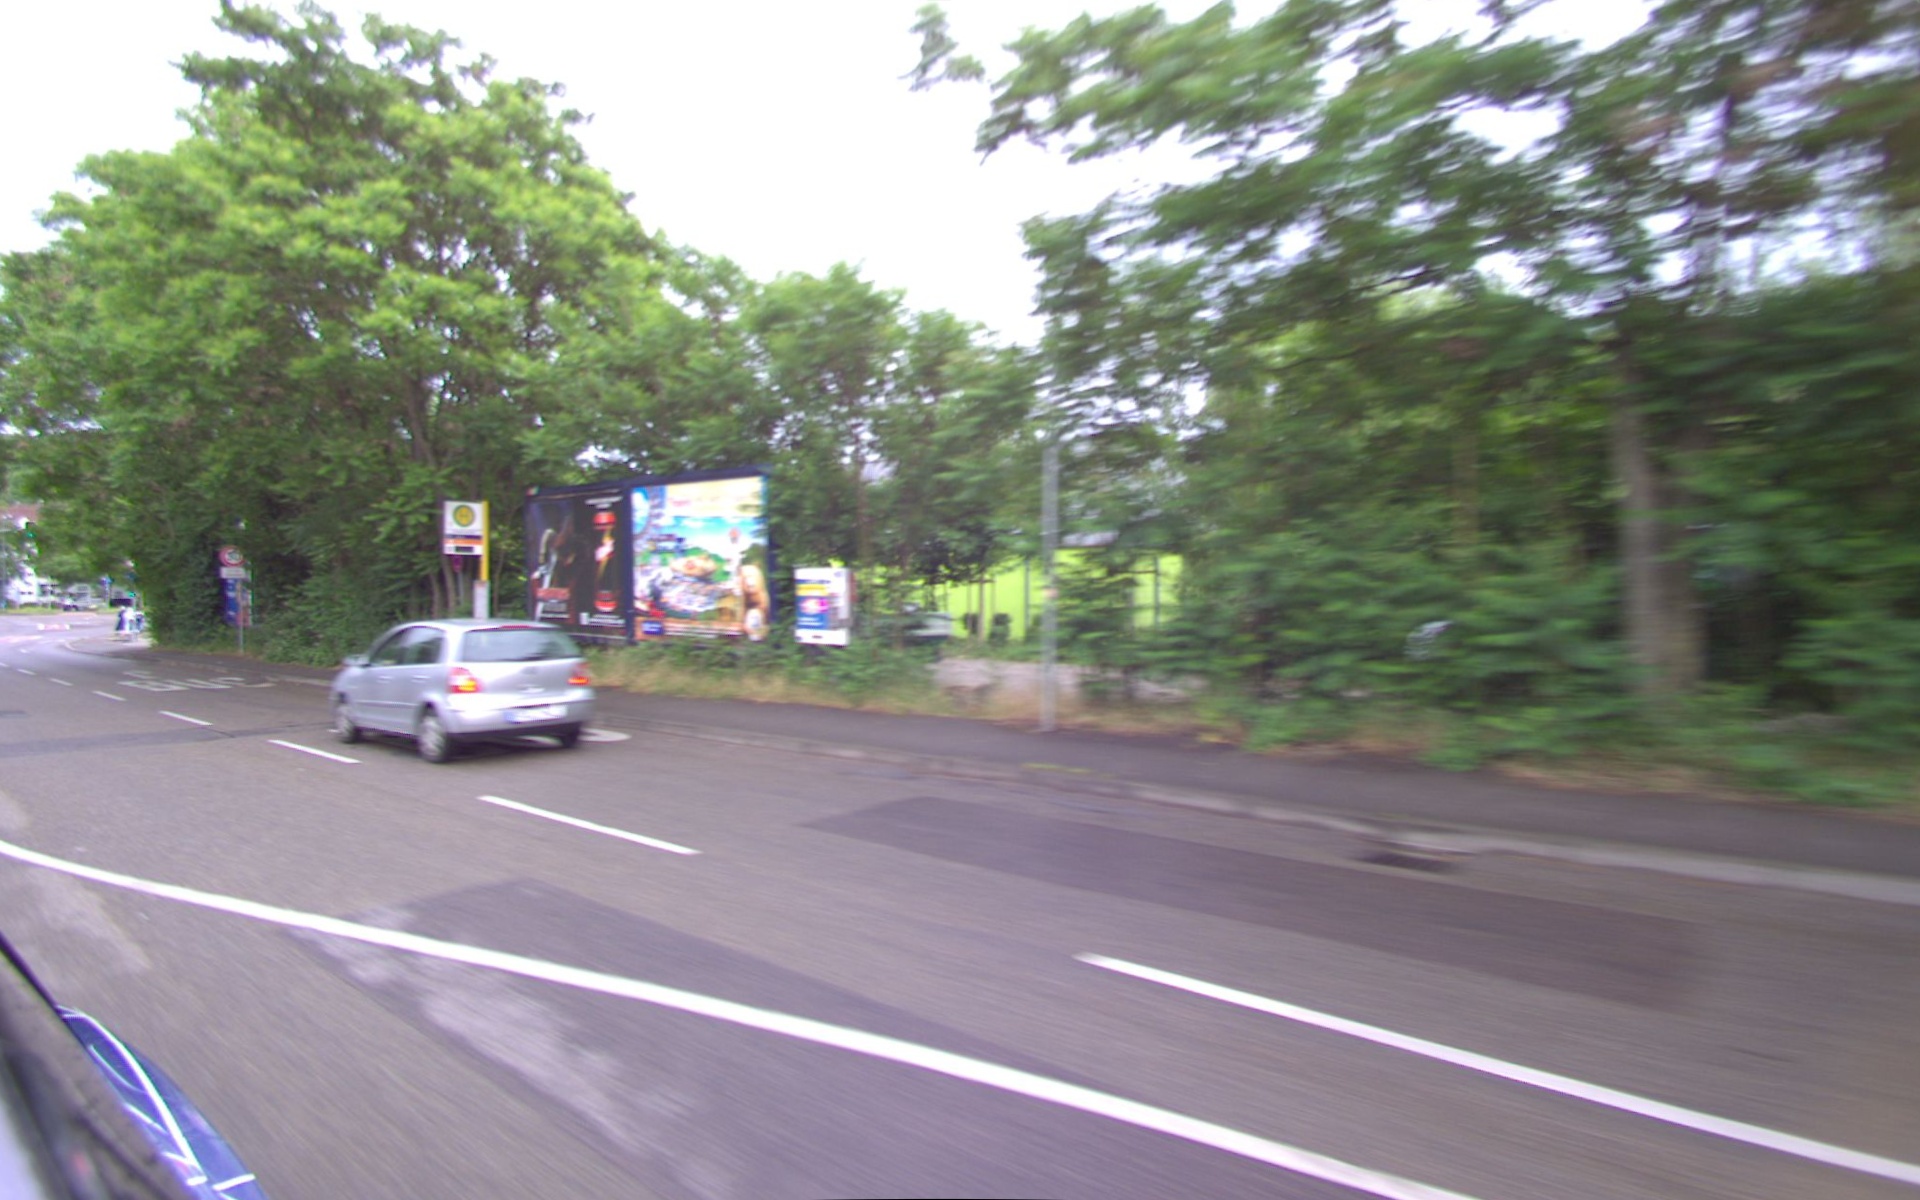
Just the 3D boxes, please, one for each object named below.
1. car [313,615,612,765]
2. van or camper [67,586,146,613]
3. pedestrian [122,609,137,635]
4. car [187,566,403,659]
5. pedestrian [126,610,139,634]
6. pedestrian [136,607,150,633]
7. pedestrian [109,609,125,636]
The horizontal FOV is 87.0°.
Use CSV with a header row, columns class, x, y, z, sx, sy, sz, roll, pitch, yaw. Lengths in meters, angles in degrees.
class,x,y,z,sx,sy,sz,roll,pitch,yaw
car,-5.779,0.945,11.572,3.933,1.428,1.637,-2,-4,41
van or camper,-92.387,-0.066,109.599,6.335,2.775,2.433,2,-1,-44
pedestrian,-51.029,1.351,62.178,0.597,1.614,0.679,-1,-1,-34
car,-19.763,0.388,30.155,5.548,2.552,2.105,-2,0,13
pedestrian,-53.599,1.420,65.538,0.583,1.543,0.669,-1,-1,-41
pedestrian,-50.208,1.242,62.197,0.647,1.614,0.679,0,-1,-34
pedestrian,-51.778,1.376,62.154,0.647,1.614,0.679,-1,-1,-35
